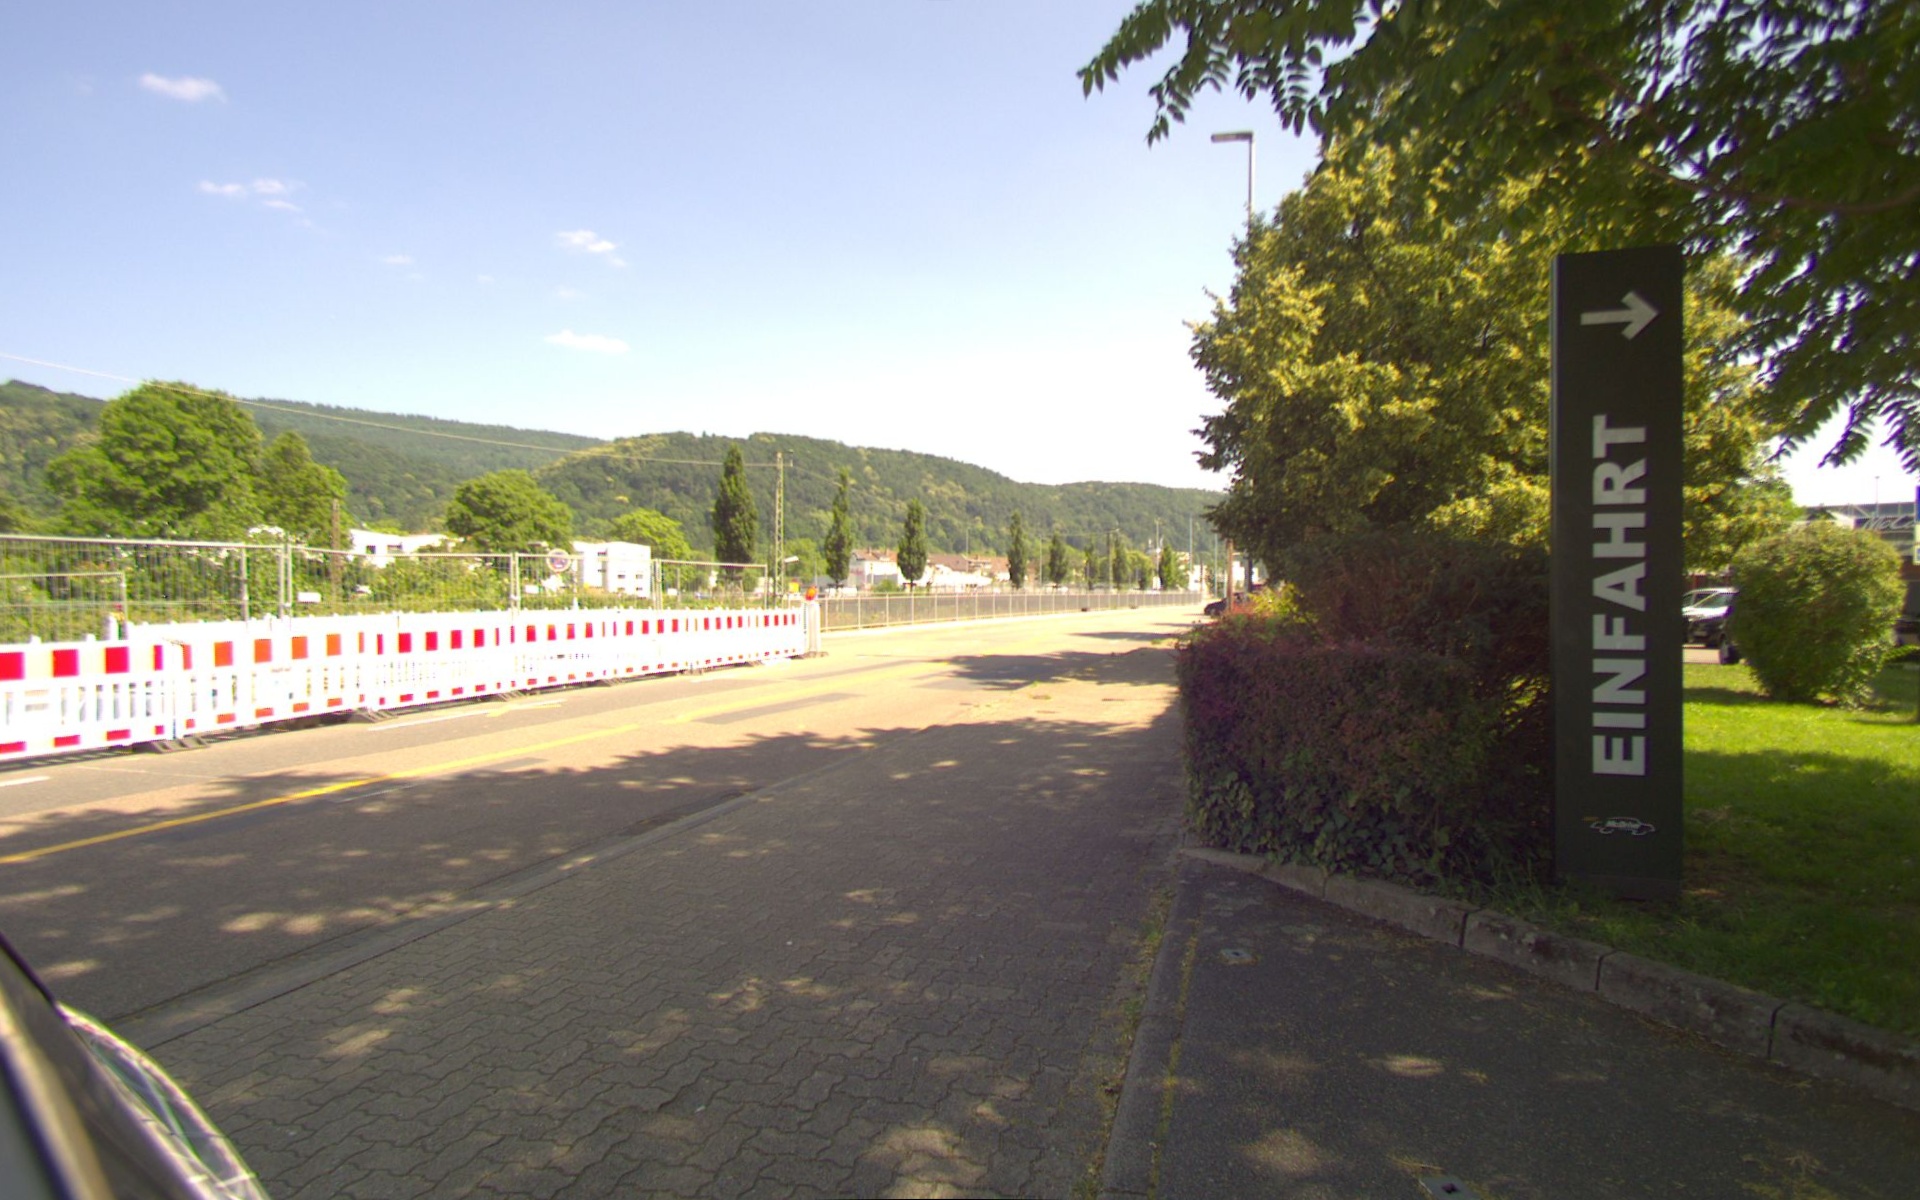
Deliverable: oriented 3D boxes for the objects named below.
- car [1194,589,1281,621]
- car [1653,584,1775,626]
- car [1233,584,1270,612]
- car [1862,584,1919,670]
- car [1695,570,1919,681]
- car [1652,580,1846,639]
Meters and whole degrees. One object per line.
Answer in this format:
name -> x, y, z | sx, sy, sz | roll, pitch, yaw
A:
car -> 14.582, 0.273, 53.282 | 3.996, 1.475, 1.856 | -3, 0, 40
car -> 29.659, 0.171, 39.995 | 1.896, 1.563, 4.137 | 0, 0, 4
car -> 21.502, -0.173, 74.471 | 2.168, 1.983, 5.406 | 0, 1, 21
car -> 17.212, 0.492, 16.673 | 1.847, 1.463, 4.342 | 2, 1, 18
car -> 15.004, 0.376, 17.950 | 1.847, 1.698, 4.342 | 2, 1, 18
car -> 23.580, 0.270, 30.377 | 4.257, 1.698, 1.860 | 0, 0, 5
